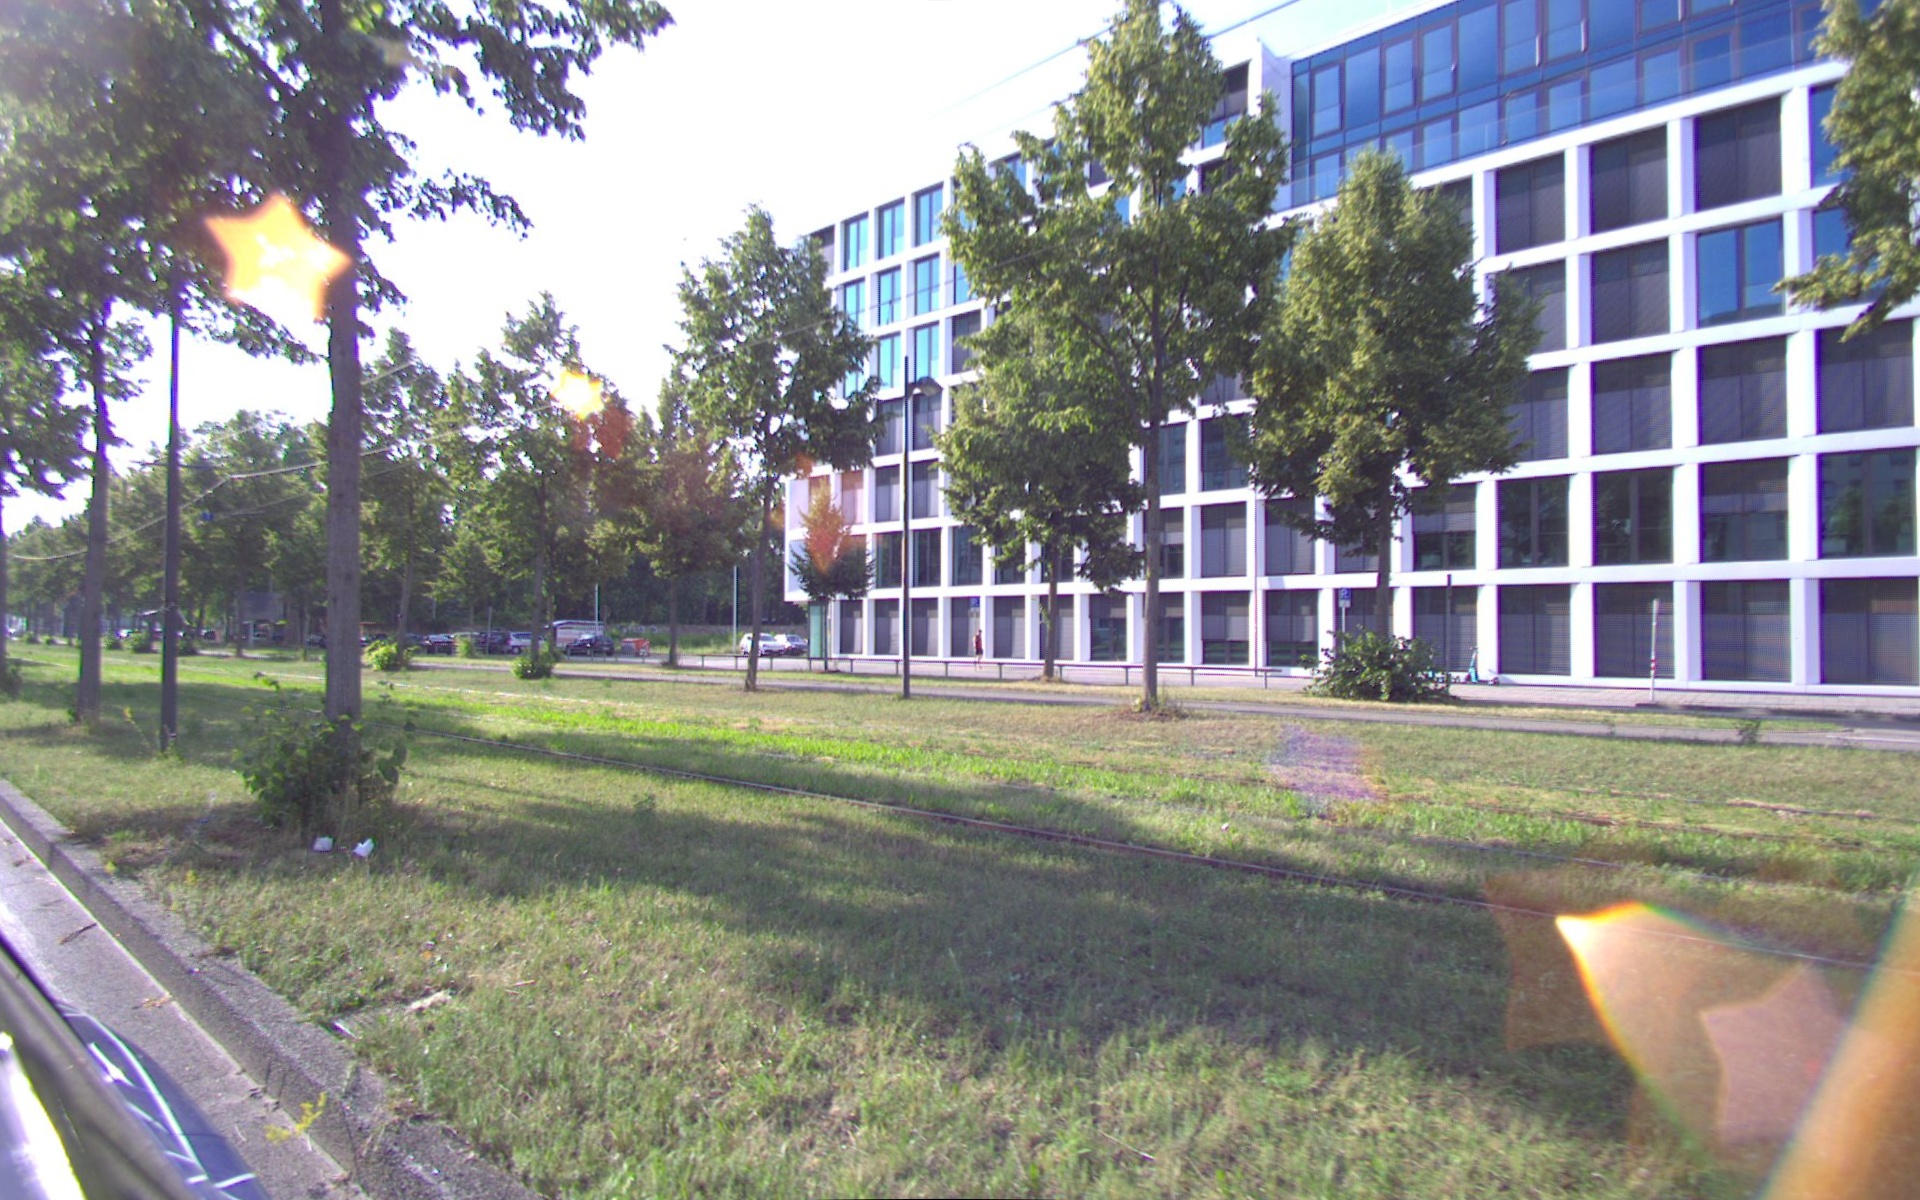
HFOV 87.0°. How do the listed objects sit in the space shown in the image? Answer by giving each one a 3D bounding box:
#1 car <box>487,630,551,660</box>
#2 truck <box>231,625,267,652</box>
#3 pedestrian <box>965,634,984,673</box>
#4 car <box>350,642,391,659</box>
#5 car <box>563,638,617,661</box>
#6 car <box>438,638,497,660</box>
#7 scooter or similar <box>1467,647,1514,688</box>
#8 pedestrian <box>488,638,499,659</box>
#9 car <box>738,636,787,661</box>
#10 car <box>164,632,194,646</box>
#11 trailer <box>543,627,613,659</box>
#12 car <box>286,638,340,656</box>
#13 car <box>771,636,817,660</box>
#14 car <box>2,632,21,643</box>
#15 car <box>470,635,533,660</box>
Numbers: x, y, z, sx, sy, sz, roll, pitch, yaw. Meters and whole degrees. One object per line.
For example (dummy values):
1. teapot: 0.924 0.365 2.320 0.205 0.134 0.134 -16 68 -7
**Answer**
1. car: -32.325 3.266 74.283 1.757 1.962 3.950 -1 0 41
2. truck: -99.074 5.288 140.918 2.855 3.542 7.950 -1 0 -44
3. pedestrian: 0.661 2.437 46.399 0.691 1.741 0.561 -1 0 41
4. car: -56.055 4.802 96.239 4.352 1.453 1.770 -1 0 36
5. car: -24.919 3.320 68.080 3.756 1.404 1.663 -1 0 38
6. car: -39.730 3.928 81.700 1.856 1.572 3.943 -1 0 43
7. scooter or similar: 16.929 2.143 32.338 0.331 1.235 1.302 -1 0 -35
8. pedestrian: -33.726 3.474 73.180 0.568 1.491 0.516 -1 0 40
9. car: -14.165 3.421 72.444 1.824 1.608 4.008 -1 0 -38
10. car: -84.147 4.192 108.999 4.474 1.442 1.811 -1 0 42
11. trailer: -27.012 2.989 71.602 1.758 2.069 4.315 -1 0 44
12. car: -56.430 4.080 88.292 3.995 1.446 1.680 -1 0 13
13. car: -12.194 3.485 74.171 1.662 1.569 4.009 -1 0 -37
14. car: -151.168 5.972 161.228 4.811 1.487 1.664 -1 -4 42
15. car: -34.581 3.545 76.381 1.757 1.655 3.950 -1 0 41
